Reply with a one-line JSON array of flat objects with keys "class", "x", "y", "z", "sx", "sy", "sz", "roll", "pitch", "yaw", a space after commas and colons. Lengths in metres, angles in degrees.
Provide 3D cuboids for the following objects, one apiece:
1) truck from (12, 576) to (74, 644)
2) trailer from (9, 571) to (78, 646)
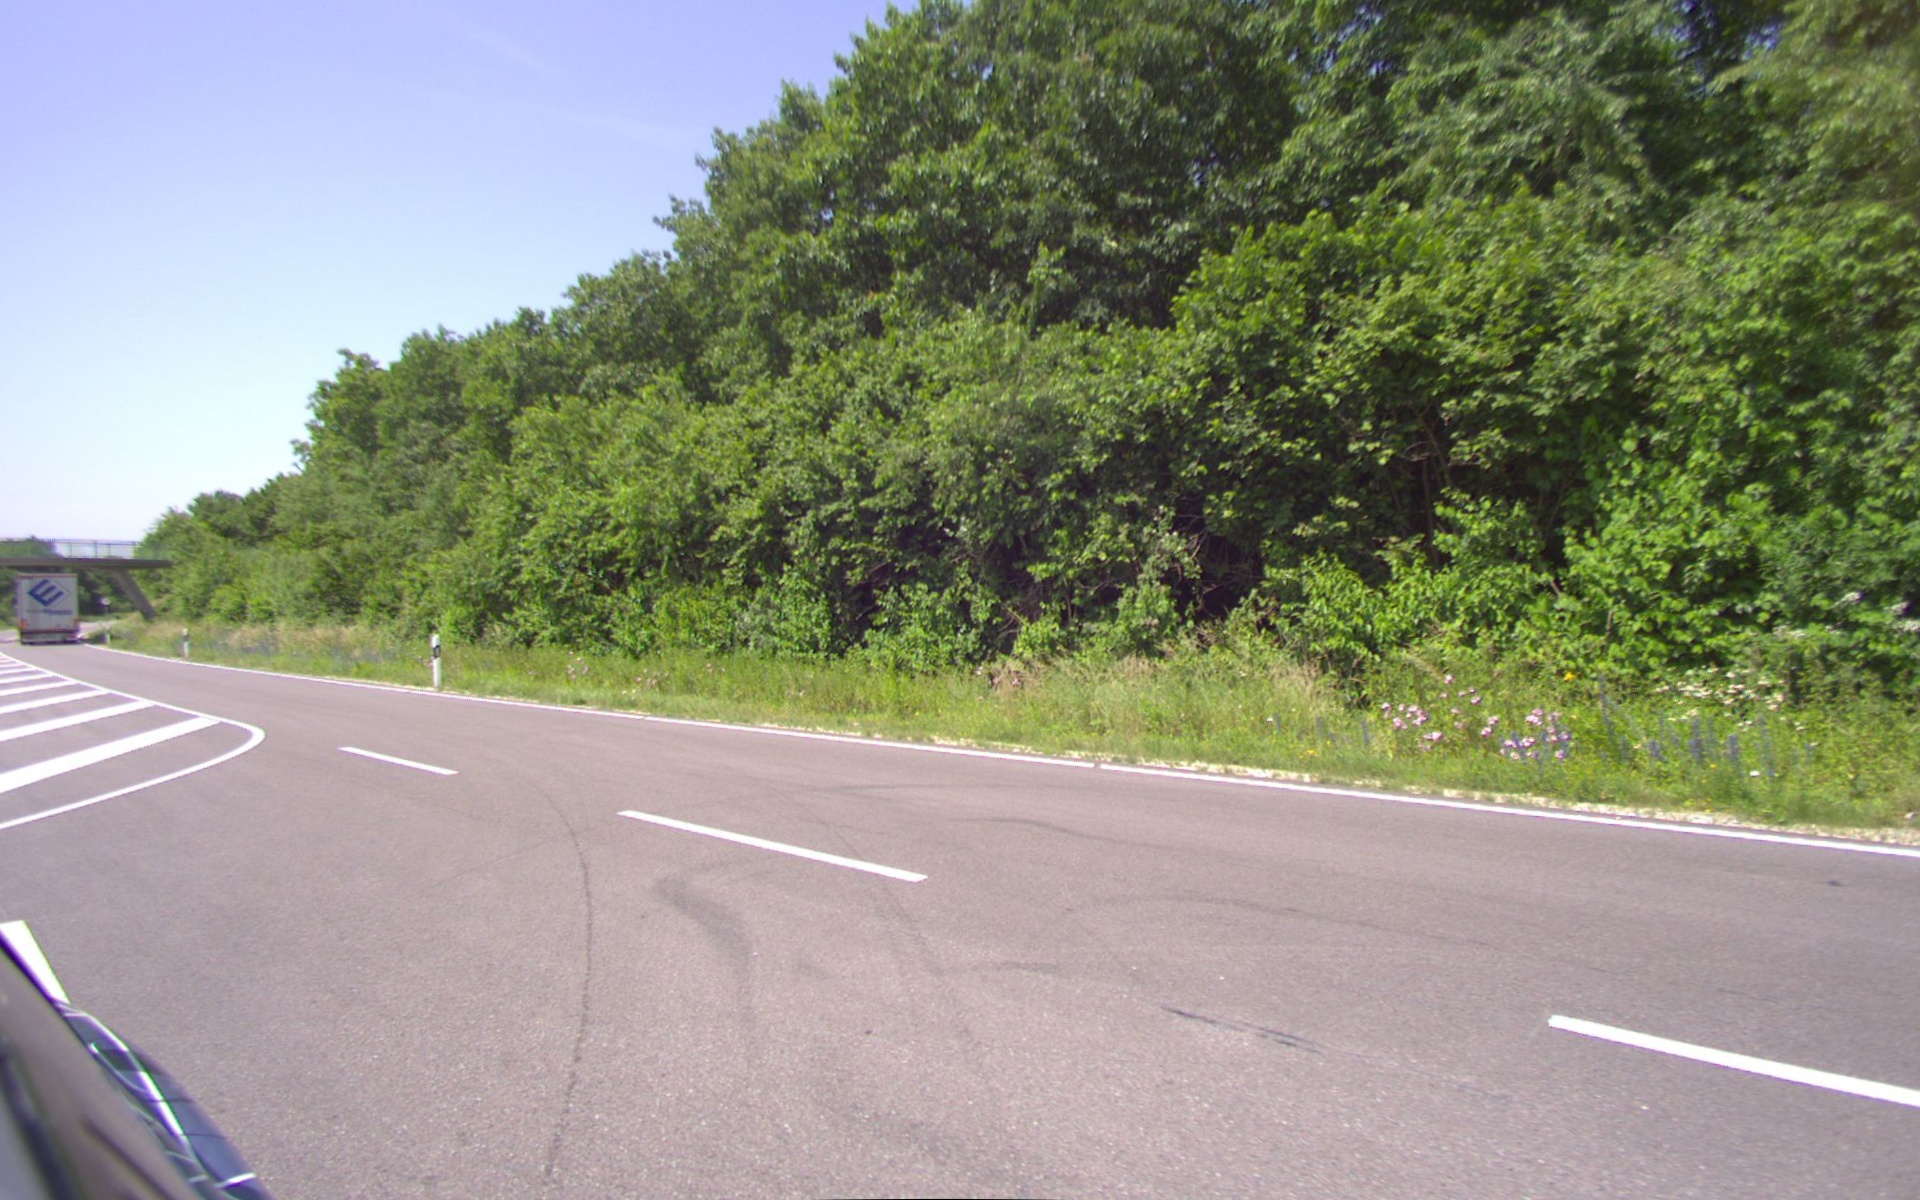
[{"class": "truck", "x": -59.624, "y": 0.678, "z": 65.804, "sx": 2.764, "sy": 4.127, "sz": 11.075, "roll": -1, "pitch": -1, "yaw": -43}, {"class": "trailer", "x": -53.708, "y": 0.524, "z": 59.305, "sx": 2.794, "sy": 4.127, "sz": 9.011, "roll": -1, "pitch": -1, "yaw": -42}]
